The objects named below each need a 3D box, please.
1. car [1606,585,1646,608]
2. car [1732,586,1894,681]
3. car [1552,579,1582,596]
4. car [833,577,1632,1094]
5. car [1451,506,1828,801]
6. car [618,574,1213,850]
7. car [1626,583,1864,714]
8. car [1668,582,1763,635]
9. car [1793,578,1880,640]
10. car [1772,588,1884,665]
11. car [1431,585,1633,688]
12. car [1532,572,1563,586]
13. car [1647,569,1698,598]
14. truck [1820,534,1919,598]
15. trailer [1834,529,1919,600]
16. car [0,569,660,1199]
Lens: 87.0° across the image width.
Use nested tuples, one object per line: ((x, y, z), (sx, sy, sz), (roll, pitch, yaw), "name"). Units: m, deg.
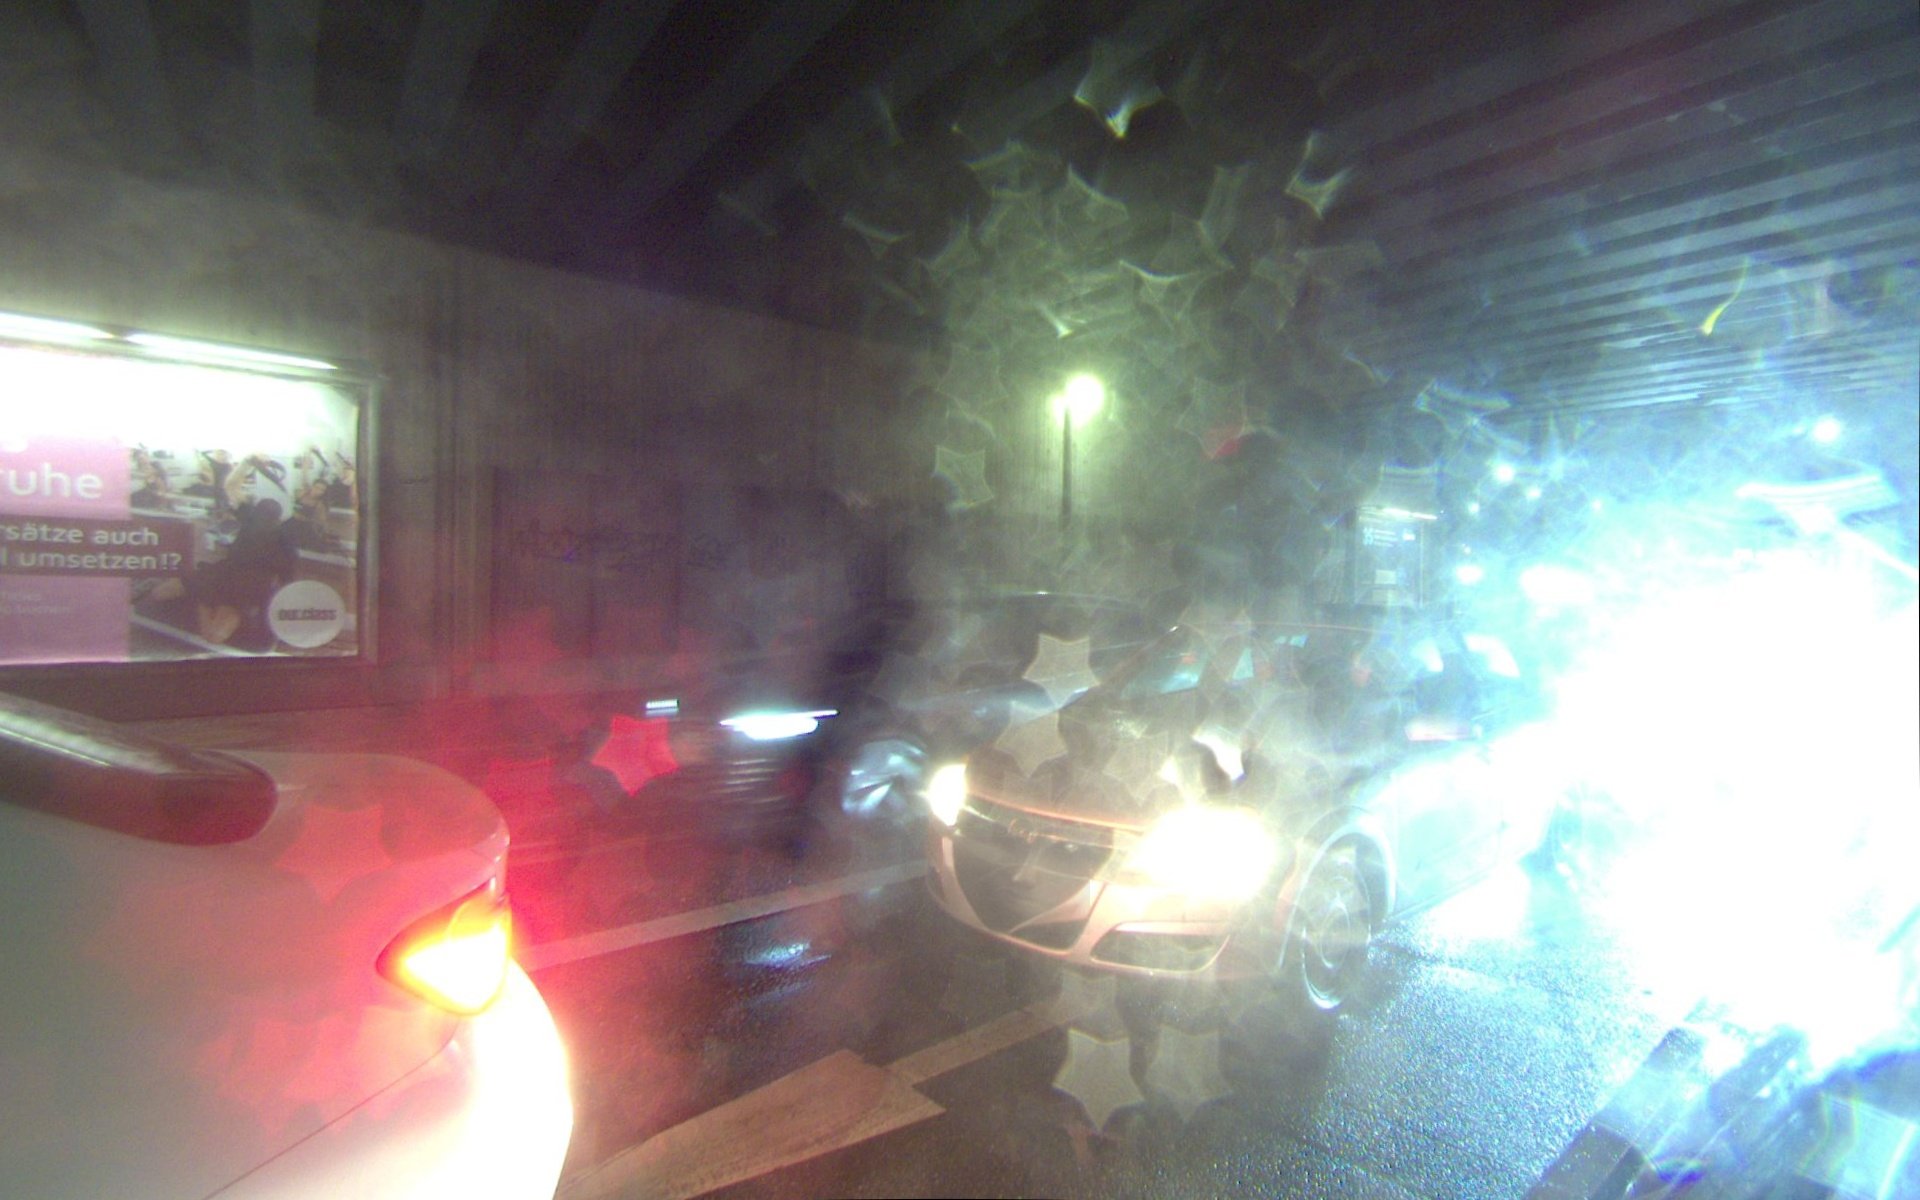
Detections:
((45.255, -0.241, 68.878), (1.865, 1.490, 3.961), (0, 0, 28), "car")
((15.310, 0.510, 18.099), (3.930, 1.522, 1.628), (-1, 0, -41), "car")
((55.955, -1.142, 93.314), (1.862, 1.490, 3.968), (0, 0, 24), "car")
((1.542, 0.622, 4.804), (3.931, 1.384, 1.791), (-2, 2, -41), "car")
((6.475, 0.360, 9.450), (4.274, 2.115, 1.996), (-1, 0, -43), "car")
((-0.059, 0.580, 7.770), (1.838, 1.497, 4.554), (0, 0, 45), "car")
((10.741, 0.550, 13.773), (3.701, 1.531, 1.867), (-1, 0, -41), "car")
((22.749, 0.221, 30.407), (1.848, 1.474, 4.432), (1, 1, 43), "car")
((24.557, 0.216, 28.323), (1.737, 1.610, 3.939), (0, 0, 42), "car")
((18.721, 0.498, 21.768), (1.678, 1.490, 3.938), (0, 0, 43), "car")
((9.846, 0.547, 17.257), (1.849, 1.503, 4.554), (2, 1, 45), "car")
((63.050, -2.236, 108.663), (1.855, 1.490, 3.983), (0, 0, 14), "car")
((38.032, -0.900, 54.106), (1.838, 1.449, 4.455), (0, 2, 30), "car")
((63.578, -2.266, 70.377), (3.924, 4.229, 6.328), (0, 0, 23), "truck")
((61.138, -2.200, 64.518), (3.924, 4.229, 13.816), (0, 0, 22), "trailer")
((-2.676, 0.686, 0.977), (4.273, 1.422, 1.719), (-1, 0, -41), "car")
